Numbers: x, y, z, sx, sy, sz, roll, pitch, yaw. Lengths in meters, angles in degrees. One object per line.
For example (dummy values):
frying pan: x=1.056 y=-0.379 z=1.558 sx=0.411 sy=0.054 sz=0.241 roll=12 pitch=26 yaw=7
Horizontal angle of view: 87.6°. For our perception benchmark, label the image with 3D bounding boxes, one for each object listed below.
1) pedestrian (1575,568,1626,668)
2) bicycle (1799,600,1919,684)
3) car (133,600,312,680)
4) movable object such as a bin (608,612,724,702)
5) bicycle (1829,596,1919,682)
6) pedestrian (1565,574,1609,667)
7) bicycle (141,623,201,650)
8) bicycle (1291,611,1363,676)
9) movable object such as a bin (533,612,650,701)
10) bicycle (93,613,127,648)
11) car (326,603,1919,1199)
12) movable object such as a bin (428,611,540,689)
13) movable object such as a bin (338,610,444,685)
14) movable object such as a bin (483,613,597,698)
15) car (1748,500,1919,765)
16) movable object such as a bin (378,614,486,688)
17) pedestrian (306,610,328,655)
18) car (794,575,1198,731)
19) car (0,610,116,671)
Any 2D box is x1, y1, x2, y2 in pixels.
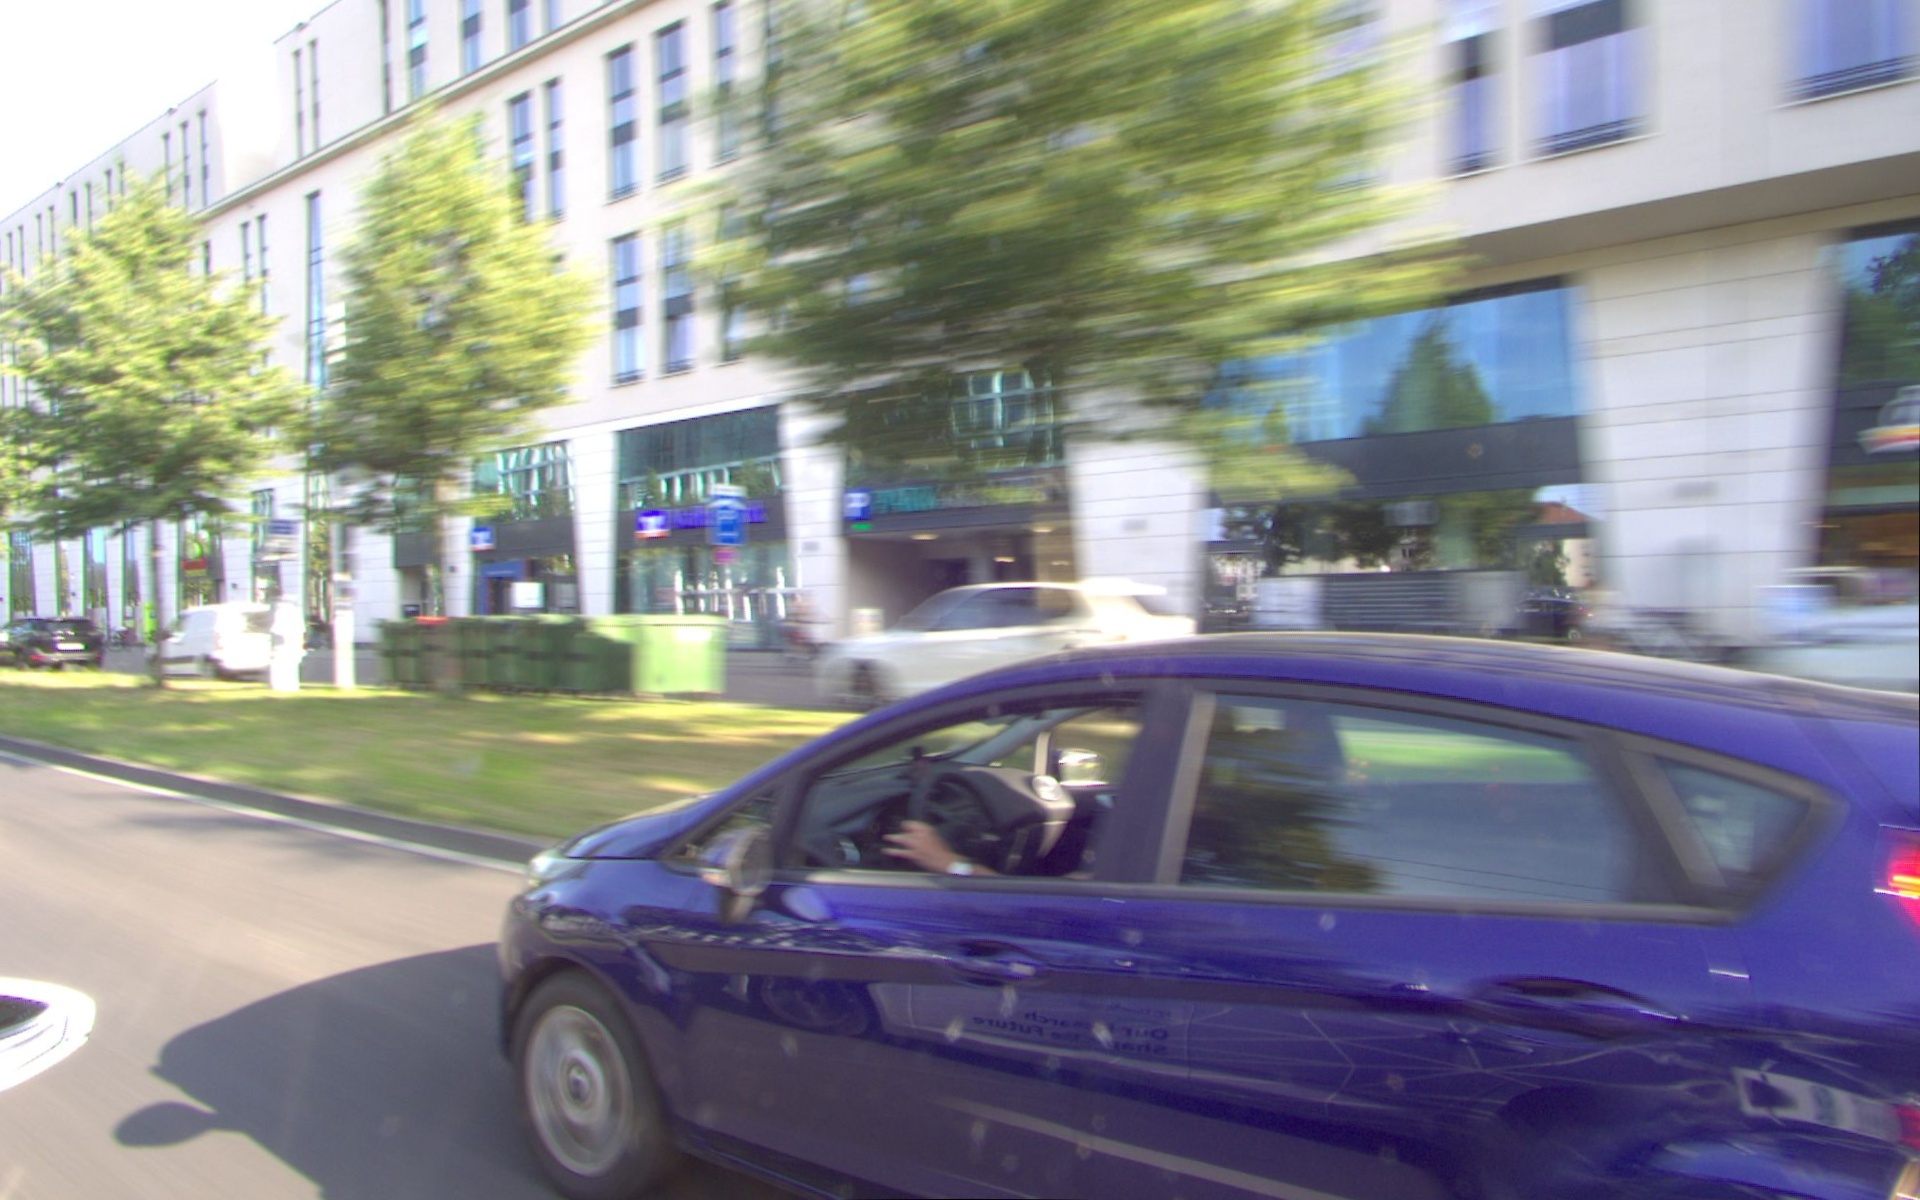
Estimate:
pedestrian: x=10.417 y=0.306 z=16.293 sx=0.530 sy=1.594 sz=0.515 roll=-1 pitch=-1 yaw=12
bicycle: x=12.566 y=0.568 z=13.627 sx=1.717 sy=1.096 sz=0.343 roll=-2 pitch=3 yaw=33
car: x=-17.337 y=0.949 z=23.519 sx=4.232 sy=1.733 sz=1.825 roll=-2 pitch=-2 yaw=29
movable object such as a bin: x=-4.417 y=0.835 z=14.988 sx=1.383 sy=1.252 sz=1.329 roll=1 pitch=-2 yaw=-31
bicycle: x=12.544 y=0.511 z=13.119 sx=1.708 sy=1.096 sz=0.343 roll=-2 pitch=3 yaw=33
pedestrian: x=10.576 y=0.358 z=16.909 sx=0.589 sy=1.541 sz=0.513 roll=-1 pitch=-1 yaw=31
bicycle: x=-33.796 y=1.558 z=42.921 sx=1.872 sy=1.098 sz=0.633 roll=-2 pitch=0 yaw=-21
bicycle: x=6.385 y=0.758 z=17.497 sx=0.342 sy=1.088 sz=1.511 roll=0 pitch=-2 yaw=-16
movable object such as a bin: x=-5.753 y=0.872 z=15.683 sx=1.173 sy=1.318 sz=1.276 roll=-1 pitch=-2 yaw=28
bicycle: x=-39.212 y=1.403 z=46.190 sx=2.182 sy=1.587 sz=0.554 roll=-2 pitch=-2 yaw=33
car: x=0.066 y=0.794 z=2.770 sx=3.851 sy=1.442 sz=1.558 roll=-2 pitch=-2 yaw=32
movable object such as a bin: x=-8.052 y=0.844 z=16.967 sx=1.173 sy=1.252 sz=1.276 roll=-1 pitch=-2 yaw=28
movable object such as a bin: x=-10.370 y=0.858 z=18.276 sx=1.160 sy=1.308 sz=1.276 roll=-1 pitch=-2 yaw=28
movable object such as a bin: x=-6.869 y=0.897 z=16.406 sx=1.173 sy=1.334 sz=1.276 roll=-1 pitch=-2 yaw=28
car: x=8.876 y=0.214 z=7.061 sx=4.958 sy=1.900 sz=1.835 roll=-2 pitch=-2 yaw=31
movable object such as a bin: x=-9.319 y=0.897 z=17.701 sx=1.173 sy=1.252 sz=1.276 roll=-1 pitch=-2 yaw=28
pedestrian: x=-25.603 y=1.308 z=39.867 sx=0.637 sy=1.785 sz=0.536 roll=-1 pitch=-1 yaw=32
car: x=0.367 y=0.597 z=12.493 sx=4.777 sy=1.651 sz=1.728 roll=-1 pitch=0 yaw=29
car: x=-27.422 y=1.178 z=29.973 sx=4.608 sy=1.730 sz=1.895 roll=0 pitch=-2 yaw=30
